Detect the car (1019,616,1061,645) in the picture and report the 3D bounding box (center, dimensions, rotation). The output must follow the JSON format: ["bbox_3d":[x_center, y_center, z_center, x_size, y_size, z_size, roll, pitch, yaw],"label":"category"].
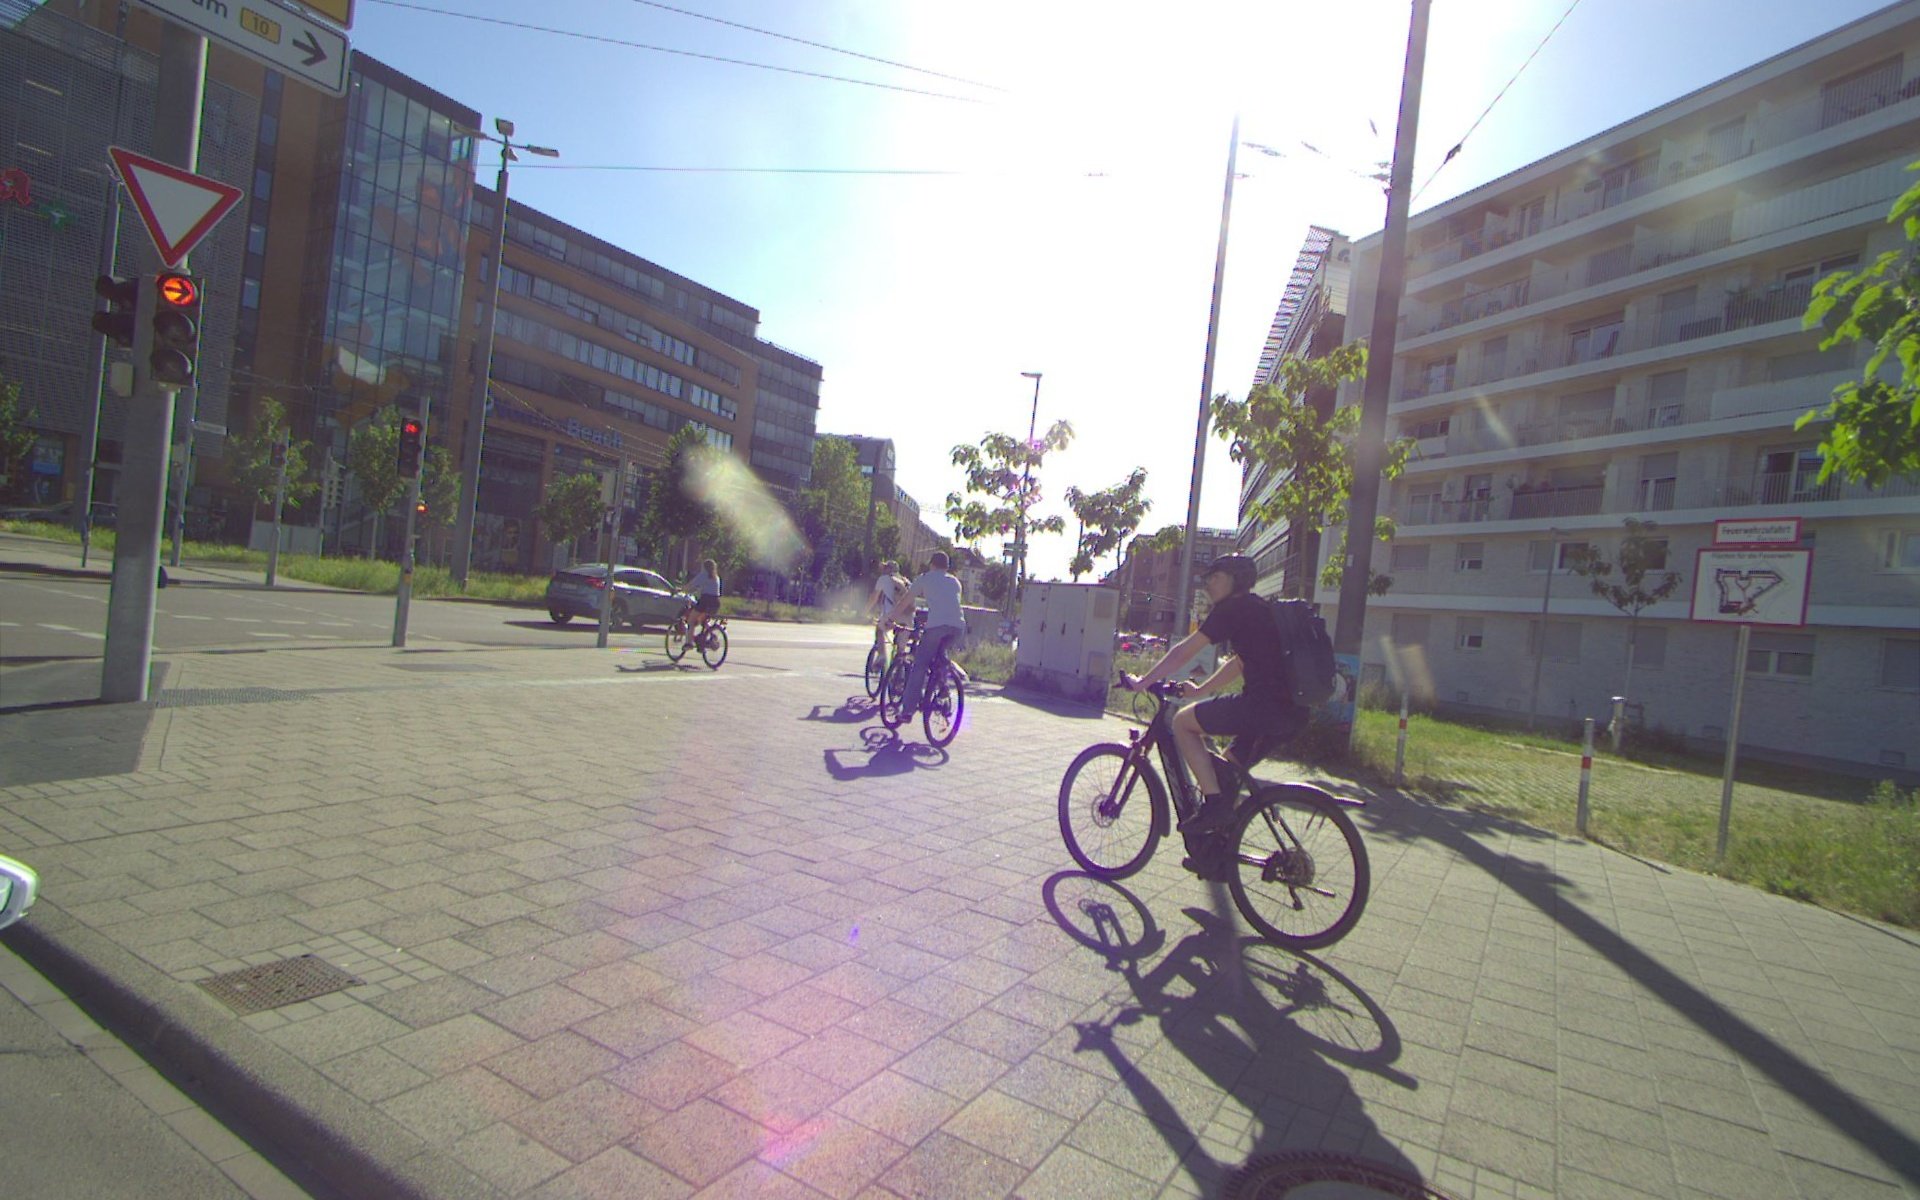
[{"bbox_3d":[5.565,2.114,69.454,1.901,1.728,4.686,7,0,16],"label":"car"}]

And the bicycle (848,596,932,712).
[{"bbox_3d":[-0.935,0.657,12.968,0.705,1.343,1.745,6,-1,-12],"label":"bicycle"}]

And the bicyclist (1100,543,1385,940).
[{"bbox_3d":[1.331,0.607,4.796,0.958,1.649,0.628,7,0,44],"label":"bicyclist"}]

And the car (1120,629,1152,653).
[{"bbox_3d":[13.960,3.258,79.481,1.677,1.515,4.281,7,-2,19],"label":"car"}]

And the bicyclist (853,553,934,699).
[{"bbox_3d":[-0.873,0.312,12.978,0.705,1.748,1.090,6,2,-13],"label":"bicyclist"}]

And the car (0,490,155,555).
[{"bbox_3d":[-32.068,-2.770,36.327,1.810,1.484,4.161,6,-5,30],"label":"car"}]

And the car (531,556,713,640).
[{"bbox_3d":[-8.148,0.017,24.679,1.678,1.531,4.279,7,-2,23],"label":"car"}]

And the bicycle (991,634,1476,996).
[{"bbox_3d":[1.204,0.894,4.894,2.126,1.212,0.634,6,0,44],"label":"bicycle"}]

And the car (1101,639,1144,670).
[{"bbox_3d":[9.877,3.296,60.991,1.675,1.591,4.874,7,-1,18],"label":"car"}]

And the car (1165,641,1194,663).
[{"bbox_3d":[18.327,4.389,83.831,1.677,1.515,4.281,7,-2,19],"label":"car"}]

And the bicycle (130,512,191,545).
[{"bbox_3d":[-40.517,-3.612,51.034,0.595,1.310,2.260,7,-2,30],"label":"bicycle"}]

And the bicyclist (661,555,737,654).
[{"bbox_3d":[-4.083,0.059,15.708,0.665,1.453,0.929,6,-1,-45],"label":"bicyclist"}]

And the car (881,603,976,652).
[{"bbox_3d":[-1.153,1.115,39.819,1.800,1.479,4.684,7,-1,23],"label":"car"}]

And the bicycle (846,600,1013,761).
[{"bbox_3d":[-0.364,0.719,9.825,0.749,1.316,2.142,6,-1,-24],"label":"bicycle"}]

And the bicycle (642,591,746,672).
[{"bbox_3d":[-4.189,0.476,15.756,1.797,1.084,0.665,4,-2,45],"label":"bicycle"}]

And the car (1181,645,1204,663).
[{"bbox_3d":[23.583,5.540,102.060,1.677,1.515,4.281,7,-2,19],"label":"car"}]

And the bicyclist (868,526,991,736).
[{"bbox_3d":[-0.306,0.303,9.717,0.799,1.888,0.746,6,-1,-23],"label":"bicyclist"}]

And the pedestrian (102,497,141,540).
[{"bbox_3d":[-39.869,-3.860,47.846,1.017,1.852,1.014,7,2,26],"label":"pedestrian"}]

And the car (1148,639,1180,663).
[{"bbox_3d":[15.682,3.940,77.276,1.677,1.515,4.281,7,-2,19],"label":"car"}]

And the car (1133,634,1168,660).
[{"bbox_3d":[13.491,3.322,71.025,1.677,1.515,4.281,7,-2,19],"label":"car"}]
